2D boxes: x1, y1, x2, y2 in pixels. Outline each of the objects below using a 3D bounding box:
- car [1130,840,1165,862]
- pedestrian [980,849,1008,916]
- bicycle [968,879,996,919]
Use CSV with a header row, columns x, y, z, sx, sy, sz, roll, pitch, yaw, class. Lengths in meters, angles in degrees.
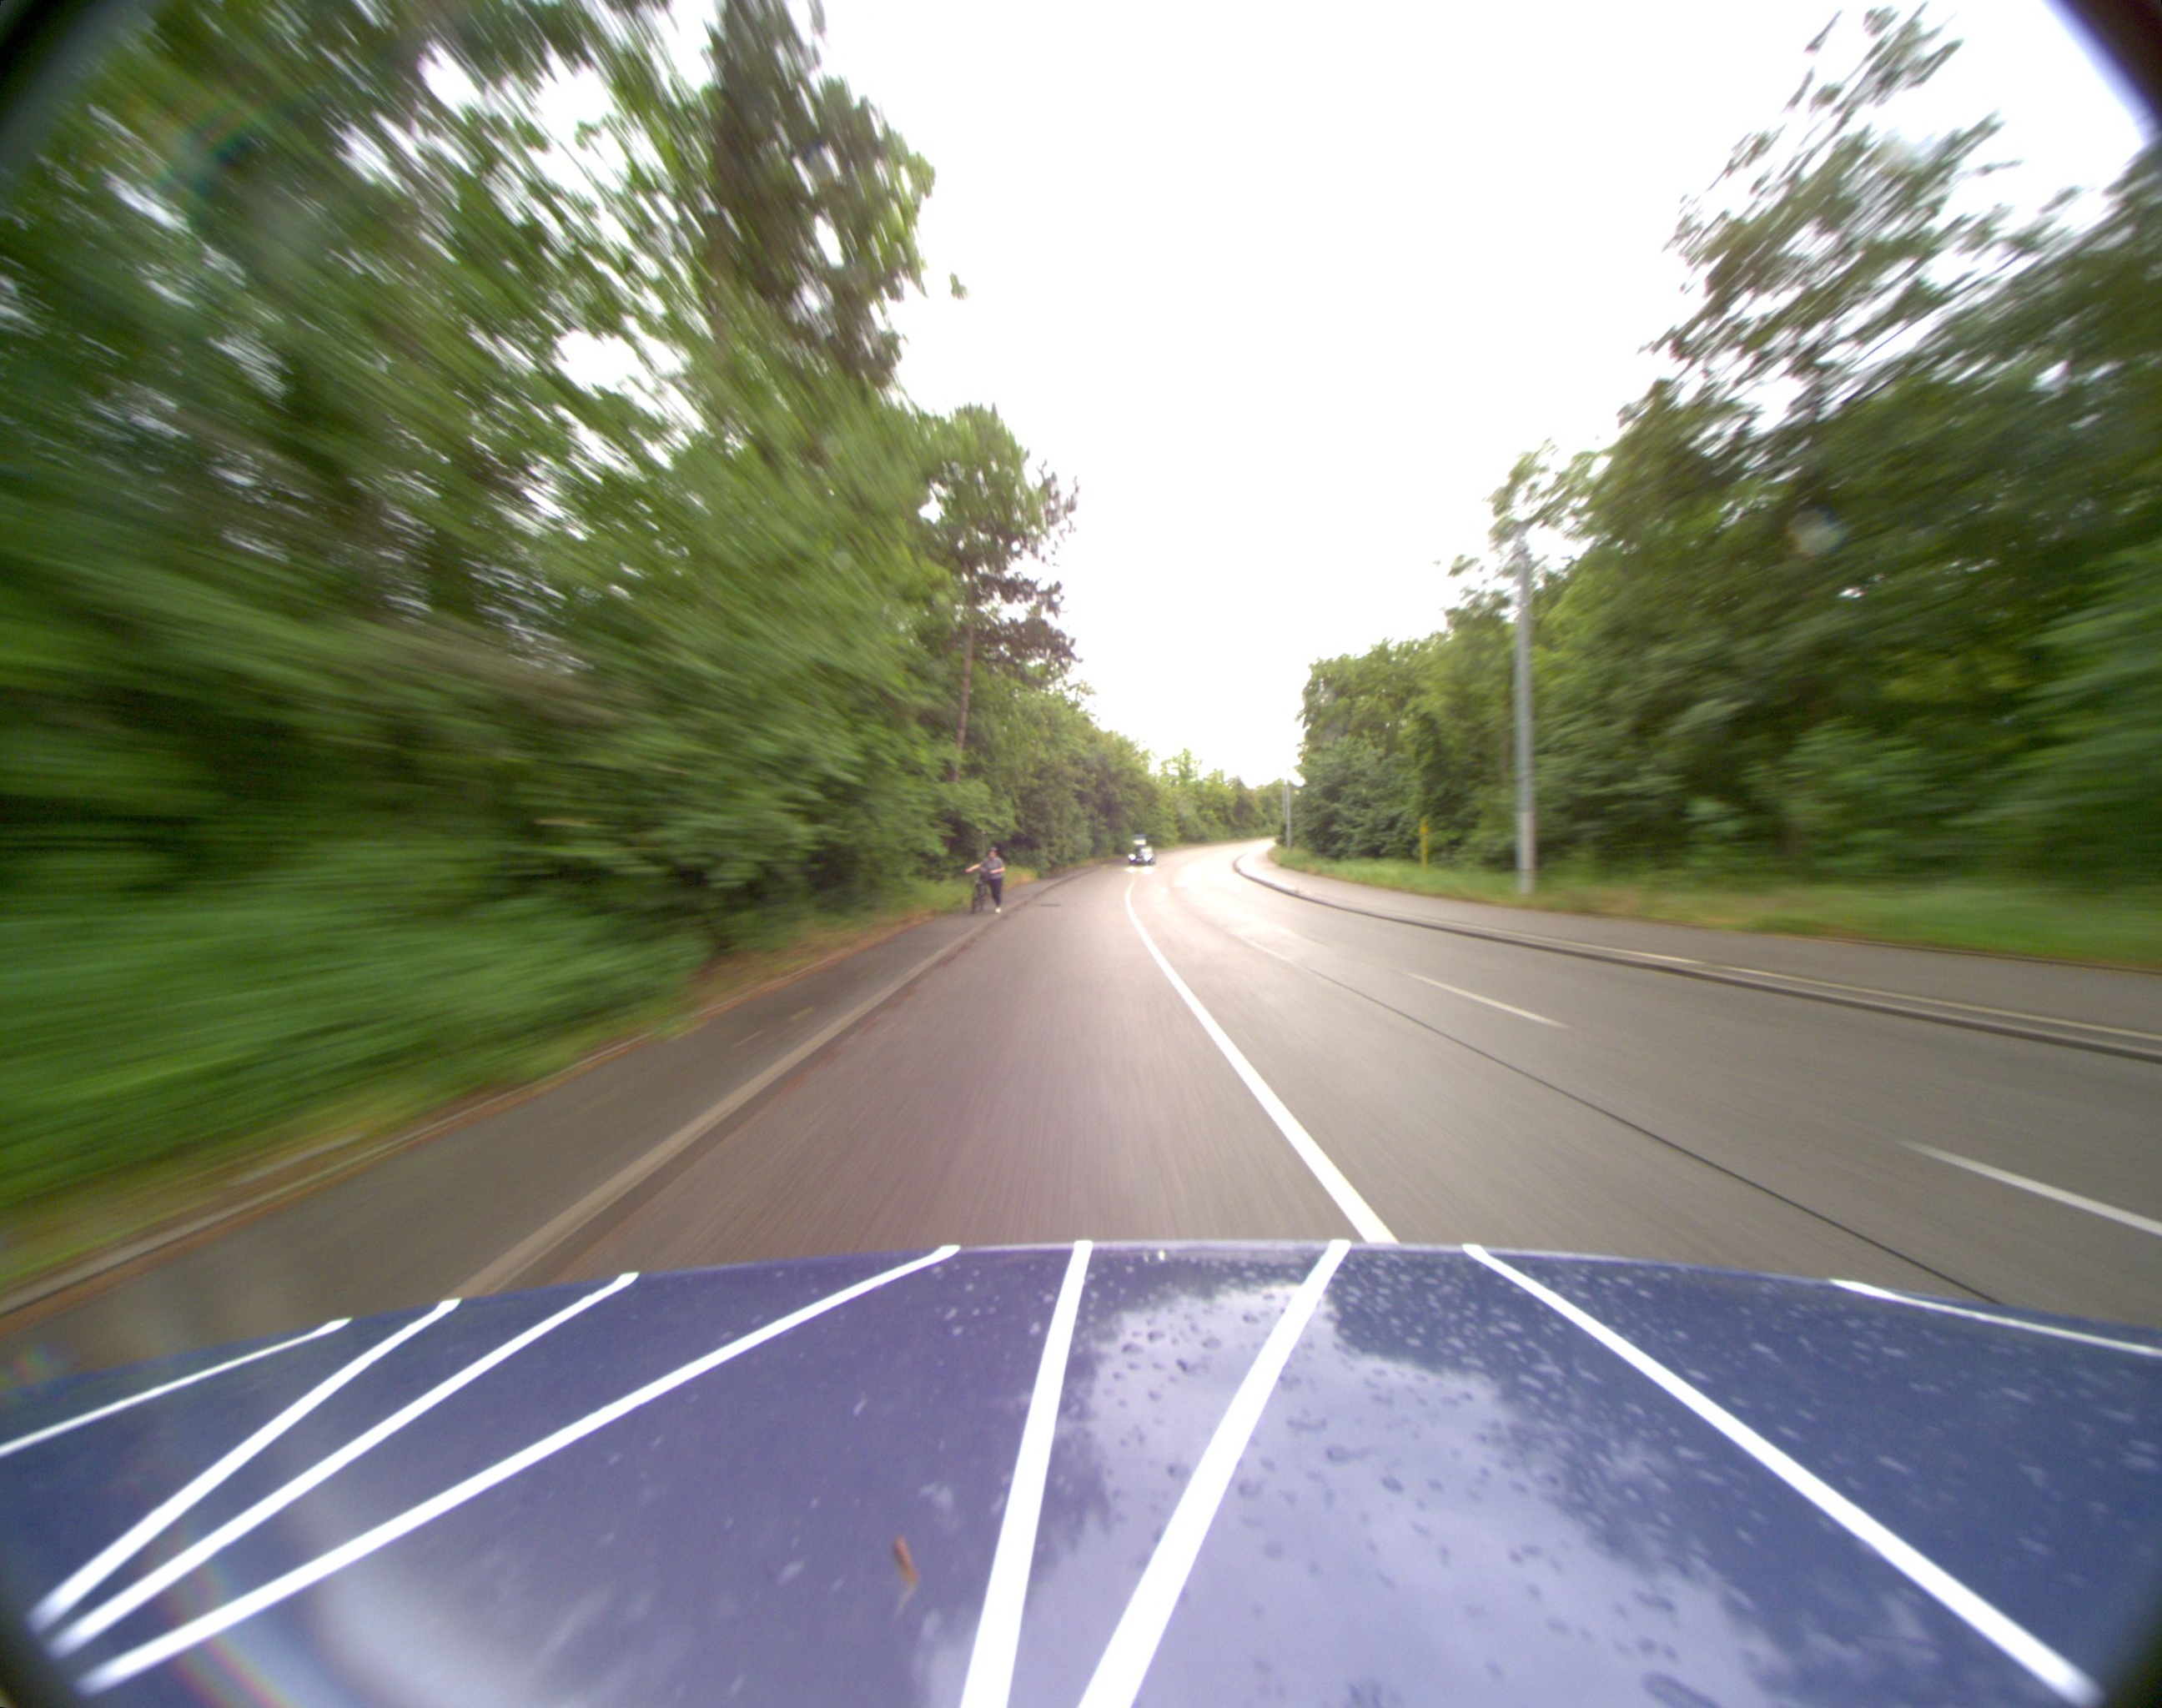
x,y,z,sx,sy,sz,roll,pitch,yaw,class
5.354,-0.282,60.462,1.829,1.512,4.005,4,3,18,car
-2.152,0.690,18.819,0.565,1.569,0.769,0,4,3,pedestrian
-2.467,1.105,19.033,0.356,0.844,1.743,3,2,3,bicycle
